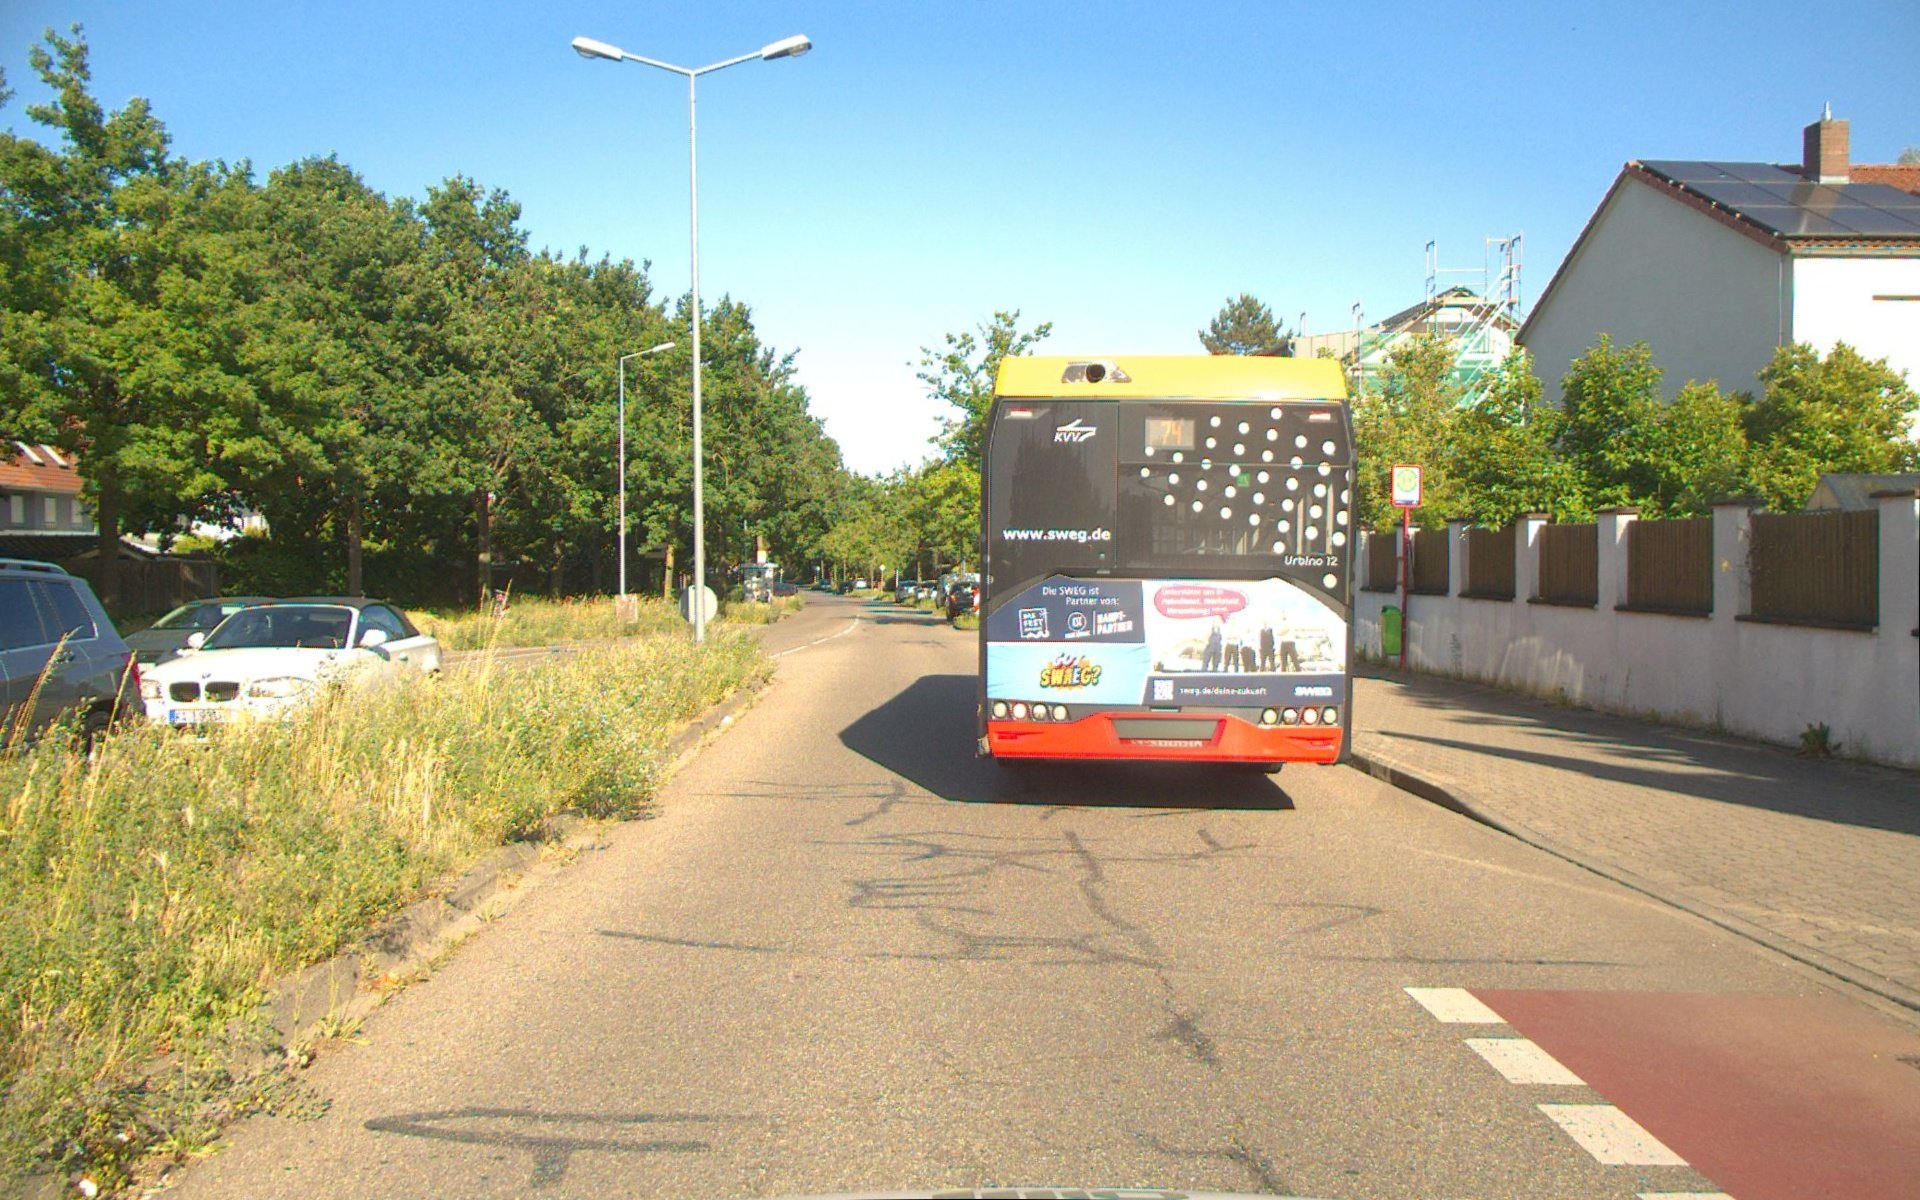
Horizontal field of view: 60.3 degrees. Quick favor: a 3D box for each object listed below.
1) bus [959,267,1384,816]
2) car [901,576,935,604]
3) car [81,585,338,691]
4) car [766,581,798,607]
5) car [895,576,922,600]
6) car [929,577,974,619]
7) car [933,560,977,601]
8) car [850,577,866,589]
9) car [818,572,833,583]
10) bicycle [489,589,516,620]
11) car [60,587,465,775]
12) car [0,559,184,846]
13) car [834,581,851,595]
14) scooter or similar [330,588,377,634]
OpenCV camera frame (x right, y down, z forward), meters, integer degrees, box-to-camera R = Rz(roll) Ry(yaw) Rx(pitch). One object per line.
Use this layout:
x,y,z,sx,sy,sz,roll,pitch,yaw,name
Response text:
1.575,-0.387,16.970,2.700,3.518,12.401,-1,0,2,bus
-2.641,-0.637,103.819,1.898,1.734,3.996,0,1,-5,car
-11.590,0.535,25.851,1.673,1.455,4.004,-2,1,9,car
-10.589,-0.380,98.309,1.899,1.505,3.994,0,1,-7,car
-3.946,-0.918,126.065,1.896,1.772,3.996,0,1,-5,car
-0.362,-0.096,67.831,1.639,1.606,3.749,-2,1,-3,car
-0.279,-0.999,83.664,1.800,2.005,4.754,0,1,-5,car
-13.599,-2.273,220.945,1.896,1.479,3.995,0,1,-6,car
-17.855,-2.938,219.300,1.896,1.479,3.995,0,1,-6,car
-16.195,0.139,58.598,0.495,1.072,1.879,0,1,-2,bicycle
-6.420,0.656,15.858,1.952,1.476,4.400,-1,1,1,car
-6.485,0.601,9.388,1.952,1.644,4.531,-1,1,1,car
-13.826,-1.440,194.762,1.896,1.569,3.996,0,1,-5,car
-17.026,0.302,46.475,0.527,1.240,1.415,2,2,13,scooter or similar
